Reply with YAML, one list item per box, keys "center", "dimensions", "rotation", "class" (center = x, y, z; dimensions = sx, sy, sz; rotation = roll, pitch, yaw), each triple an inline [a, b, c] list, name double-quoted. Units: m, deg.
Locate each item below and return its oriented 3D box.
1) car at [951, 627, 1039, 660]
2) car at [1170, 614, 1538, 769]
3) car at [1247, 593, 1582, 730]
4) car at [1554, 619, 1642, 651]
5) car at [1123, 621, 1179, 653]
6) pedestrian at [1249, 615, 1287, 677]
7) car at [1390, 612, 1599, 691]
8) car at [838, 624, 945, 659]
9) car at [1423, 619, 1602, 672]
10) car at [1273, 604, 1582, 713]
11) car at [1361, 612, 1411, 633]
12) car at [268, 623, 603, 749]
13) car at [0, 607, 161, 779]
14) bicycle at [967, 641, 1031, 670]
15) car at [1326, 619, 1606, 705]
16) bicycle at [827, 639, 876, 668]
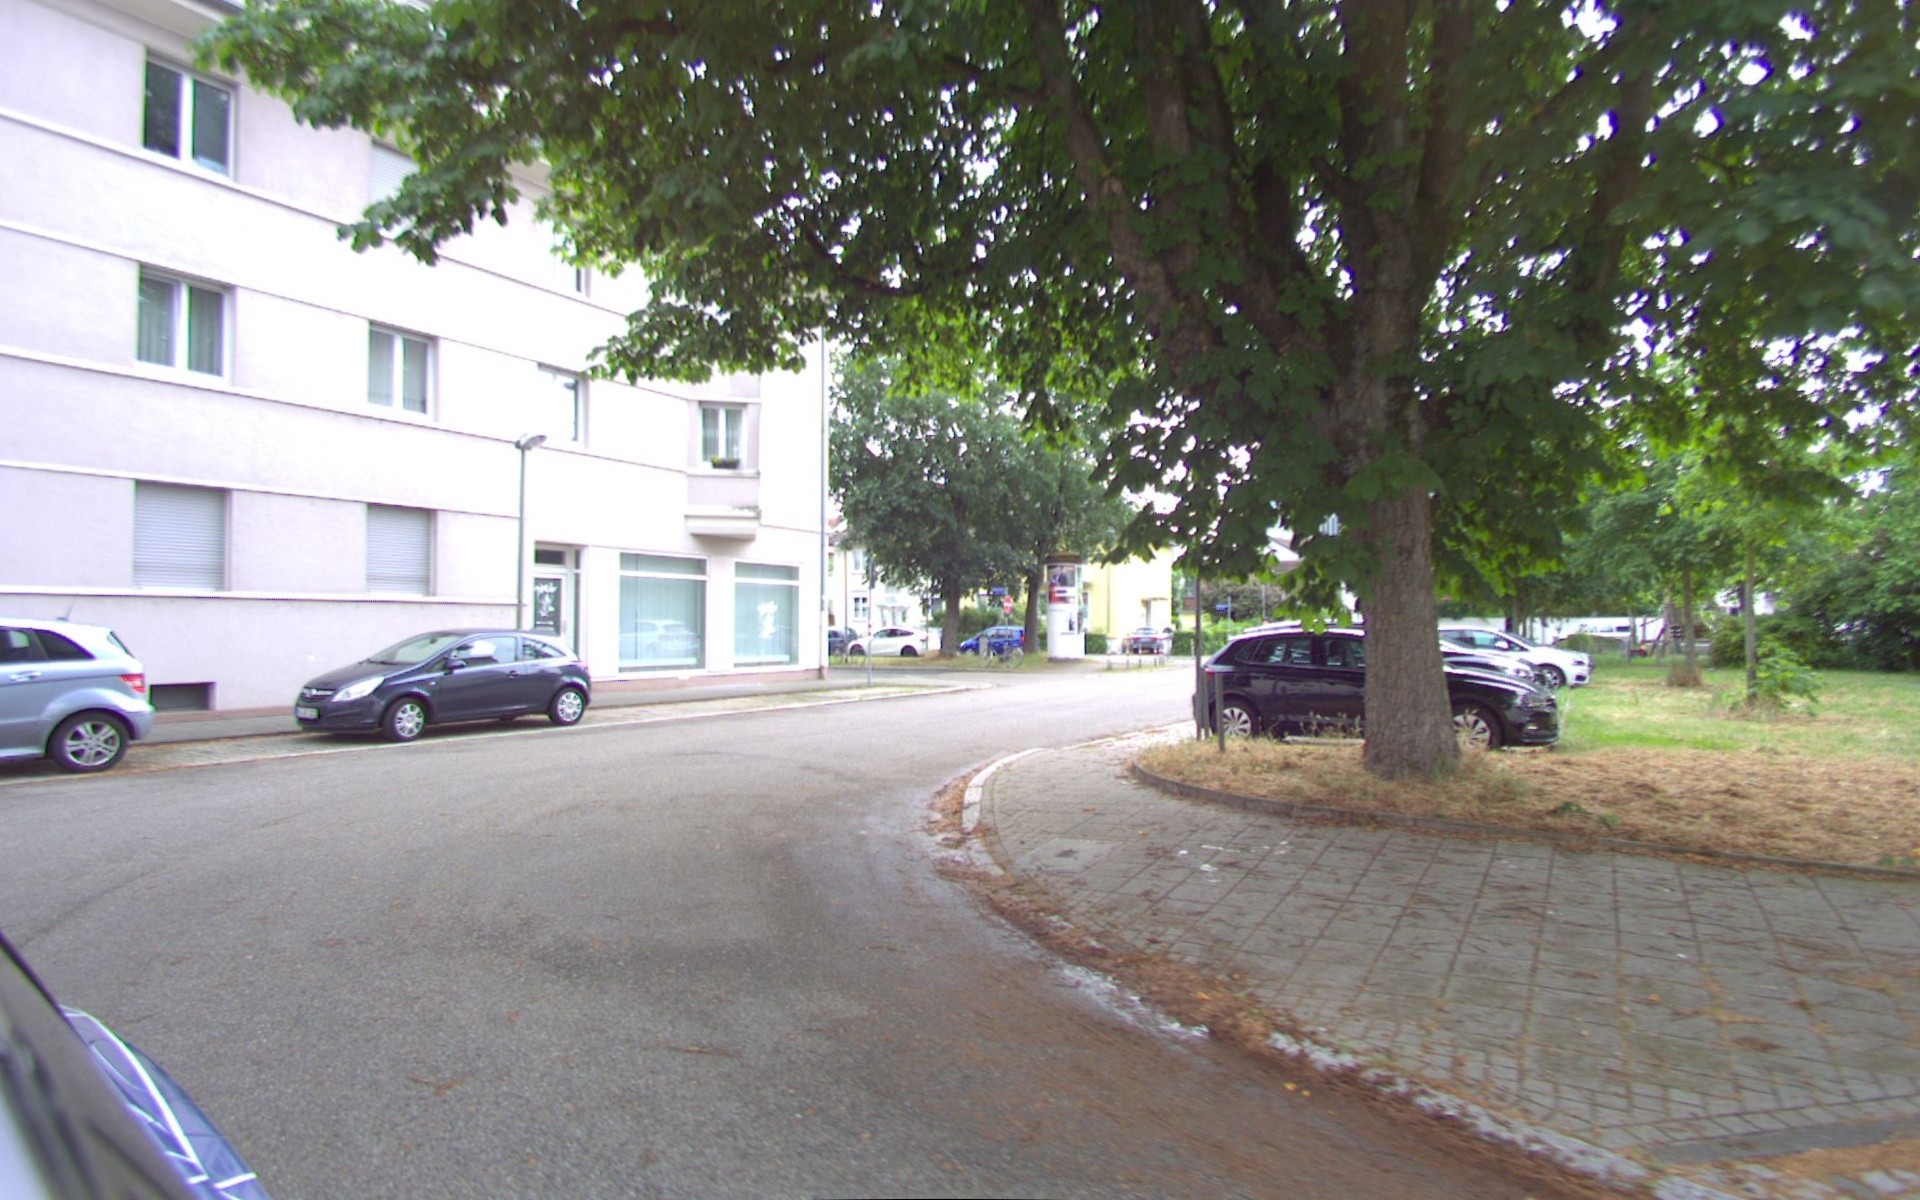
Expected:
- center: [1.763, 2.194, 51.453]
  dimensions: [4.196, 1.578, 1.687]
  rotation: [-1, -1, 32]
  class: "car"
- center: [4.702, 1.005, 12.258]
  dimensions: [3.834, 1.589, 1.809]
  rotation: [-1, -3, 36]
  class: "car"
- center: [6.471, 0.858, 14.595]
  dimensions: [4.061, 1.710, 1.893]
  rotation: [-3, -3, 37]
  class: "car"
- center: [39.908, 2.208, 63.434]
  dimensions: [4.475, 1.873, 1.980]
  rotation: [-2, 0, 29]
  class: "car"
- center: [10.147, 1.943, 53.675]
  dimensions: [1.835, 1.623, 3.961]
  rotation: [-1, -2, 28]
  class: "car"
- center: [9.360, 1.378, 30.819]
  dimensions: [0.868, 1.850, 1.217]
  rotation: [0, -2, 7]
  class: "pedestrian"
- center: [12.579, 1.229, 23.894]
  dimensions: [4.136, 1.572, 1.863]
  rotation: [-5, -3, 33]
  class: "car"
- center: [-3.296, 1.978, 48.264]
  dimensions: [4.860, 1.578, 1.885]
  rotation: [-1, -2, 28]
  class: "car"
- center: [16.420, 1.381, 30.284]
  dimensions: [4.539, 1.465, 1.664]
  rotation: [-2, -2, 29]
  class: "car"
- center: [7.663, 0.955, 16.800]
  dimensions: [4.349, 1.578, 1.818]
  rotation: [-3, -3, 37]
  class: "car"
- center: [39.652, 2.107, 94.146]
  dimensions: [3.990, 1.851, 1.977]
  rotation: [-2, 0, 34]
  class: "car"
- center: [-7.273, 1.098, 14.396]
  dimensions: [1.757, 1.501, 3.893]
  rotation: [-2, -2, 33]
  class: "car"
- center: [-10.344, 0.898, 9.499]
  dimensions: [1.759, 1.640, 4.149]
  rotation: [-2, -2, 35]
  class: "car"
- center: [1.357, 1.938, 35.391]
  dimensions: [2.170, 0.993, 0.508]
  rotation: [-2, 0, 26]
  class: "bicycle"
- center: [9.667, 1.169, 19.504]
  dimensions: [4.552, 1.475, 1.818]
  rotation: [-3, -3, 37]
  class: "car"
- center: [-4.190, 2.060, 39.155]
  dimensions: [1.877, 1.075, 0.661]
  rotation: [-1, -2, 30]
  class: "bicycle"
